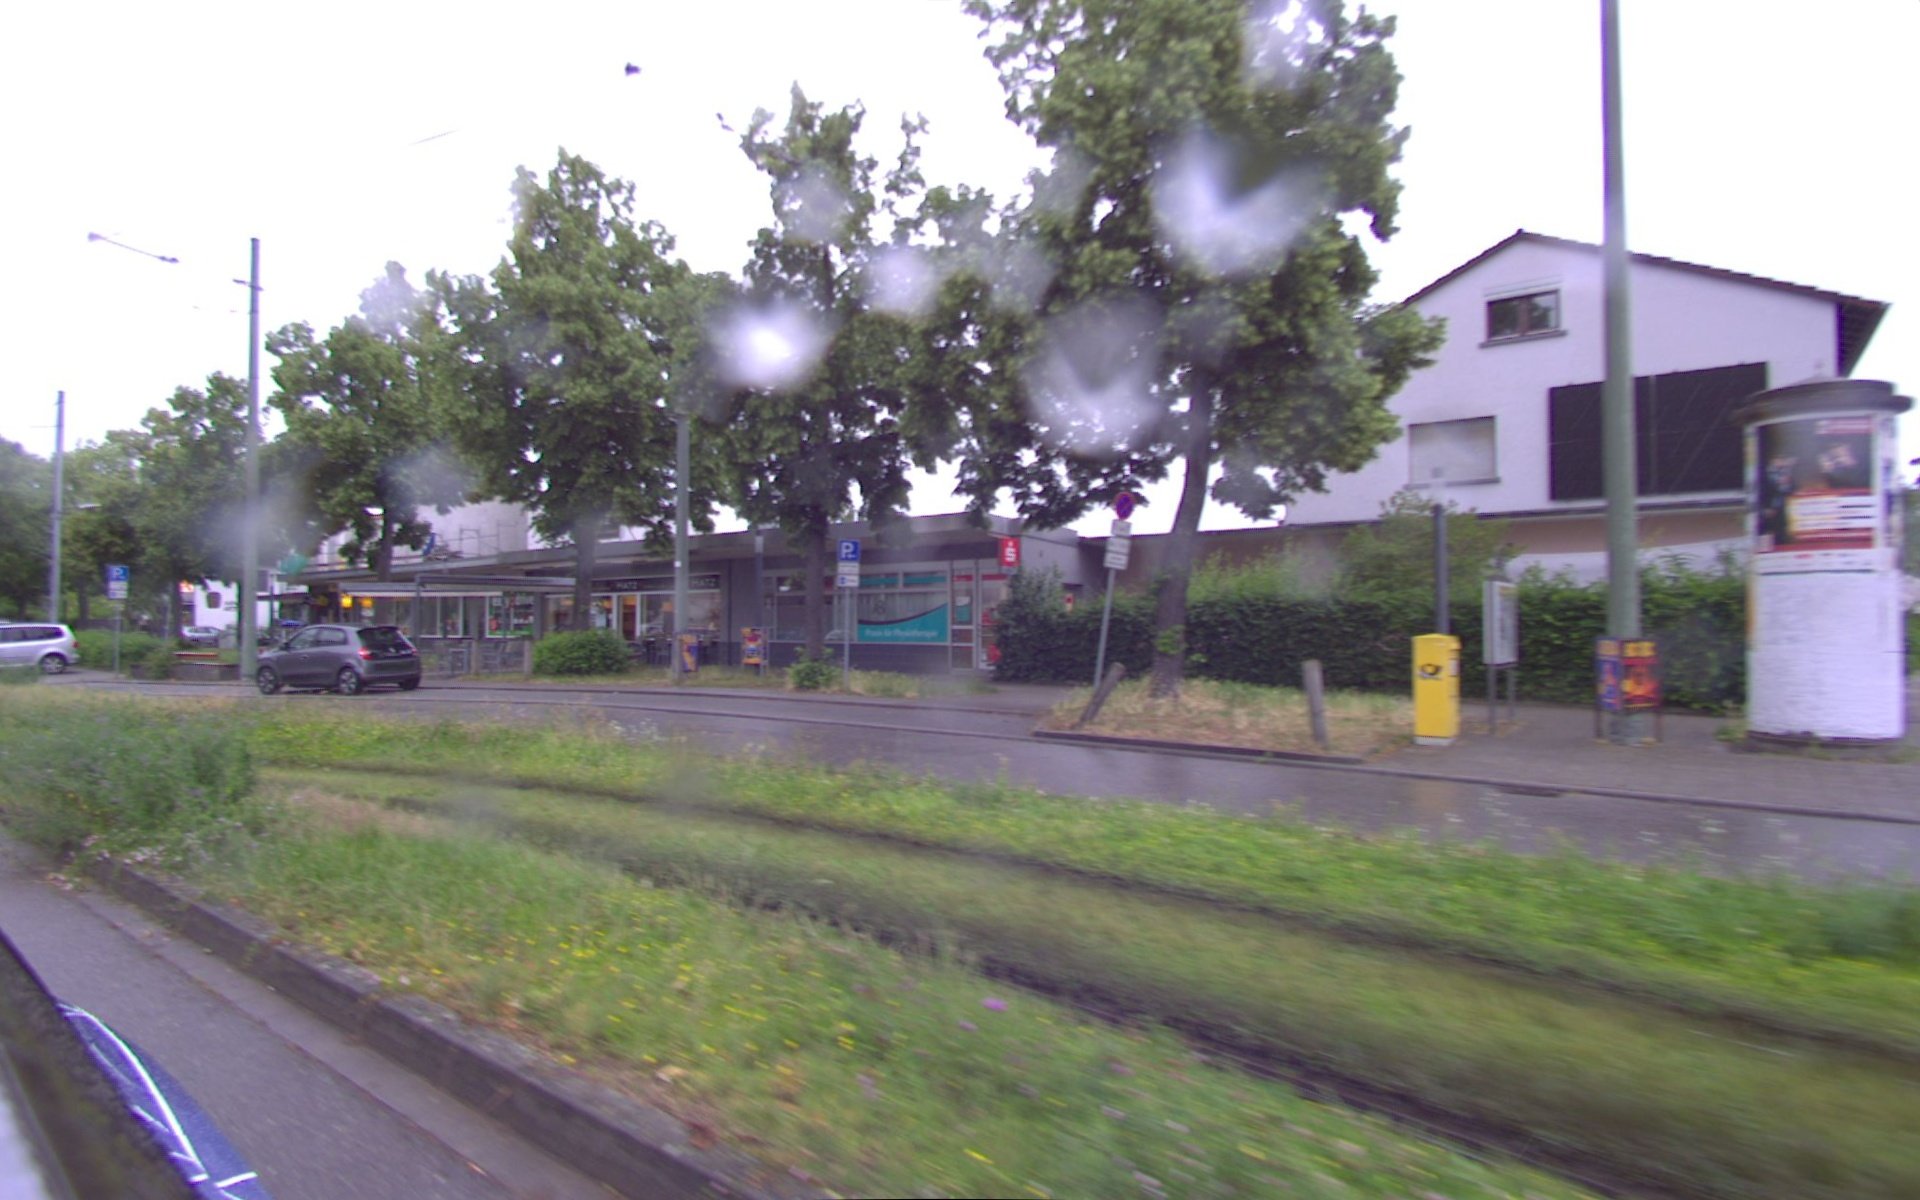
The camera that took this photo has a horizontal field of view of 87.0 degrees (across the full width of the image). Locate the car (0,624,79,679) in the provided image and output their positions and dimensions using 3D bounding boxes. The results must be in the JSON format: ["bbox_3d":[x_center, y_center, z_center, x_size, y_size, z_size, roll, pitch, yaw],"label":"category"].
[{"bbox_3d":[-30.835,1.650,31.939,1.996,1.686,4.284,-2,-1,36],"label":"car"}]

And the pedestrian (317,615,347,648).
[{"bbox_3d":[-30.818,1.549,49.679,1.063,1.596,0.949,2,-2,-42],"label":"pedestrian"}]

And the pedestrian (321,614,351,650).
[{"bbox_3d":[-30.087,1.529,48.818,1.063,1.727,0.949,2,-2,-42],"label":"pedestrian"}]

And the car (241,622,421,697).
[{"bbox_3d":[-13.977,1.305,22.501,3.596,1.515,1.541,-1,0,21],"label":"car"}]

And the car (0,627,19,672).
[{"bbox_3d":[-35.562,1.791,35.073,1.996,1.583,4.041,-2,-1,36],"label":"car"}]

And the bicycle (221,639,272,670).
[{"bbox_3d":[-25.187,1.927,35.711,1.738,1.080,0.590,-1,-3,21],"label":"bicycle"}]

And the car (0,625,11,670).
[{"bbox_3d":[-38.686,1.866,38.108,1.895,1.722,4.041,-2,-1,36],"label":"car"}]
